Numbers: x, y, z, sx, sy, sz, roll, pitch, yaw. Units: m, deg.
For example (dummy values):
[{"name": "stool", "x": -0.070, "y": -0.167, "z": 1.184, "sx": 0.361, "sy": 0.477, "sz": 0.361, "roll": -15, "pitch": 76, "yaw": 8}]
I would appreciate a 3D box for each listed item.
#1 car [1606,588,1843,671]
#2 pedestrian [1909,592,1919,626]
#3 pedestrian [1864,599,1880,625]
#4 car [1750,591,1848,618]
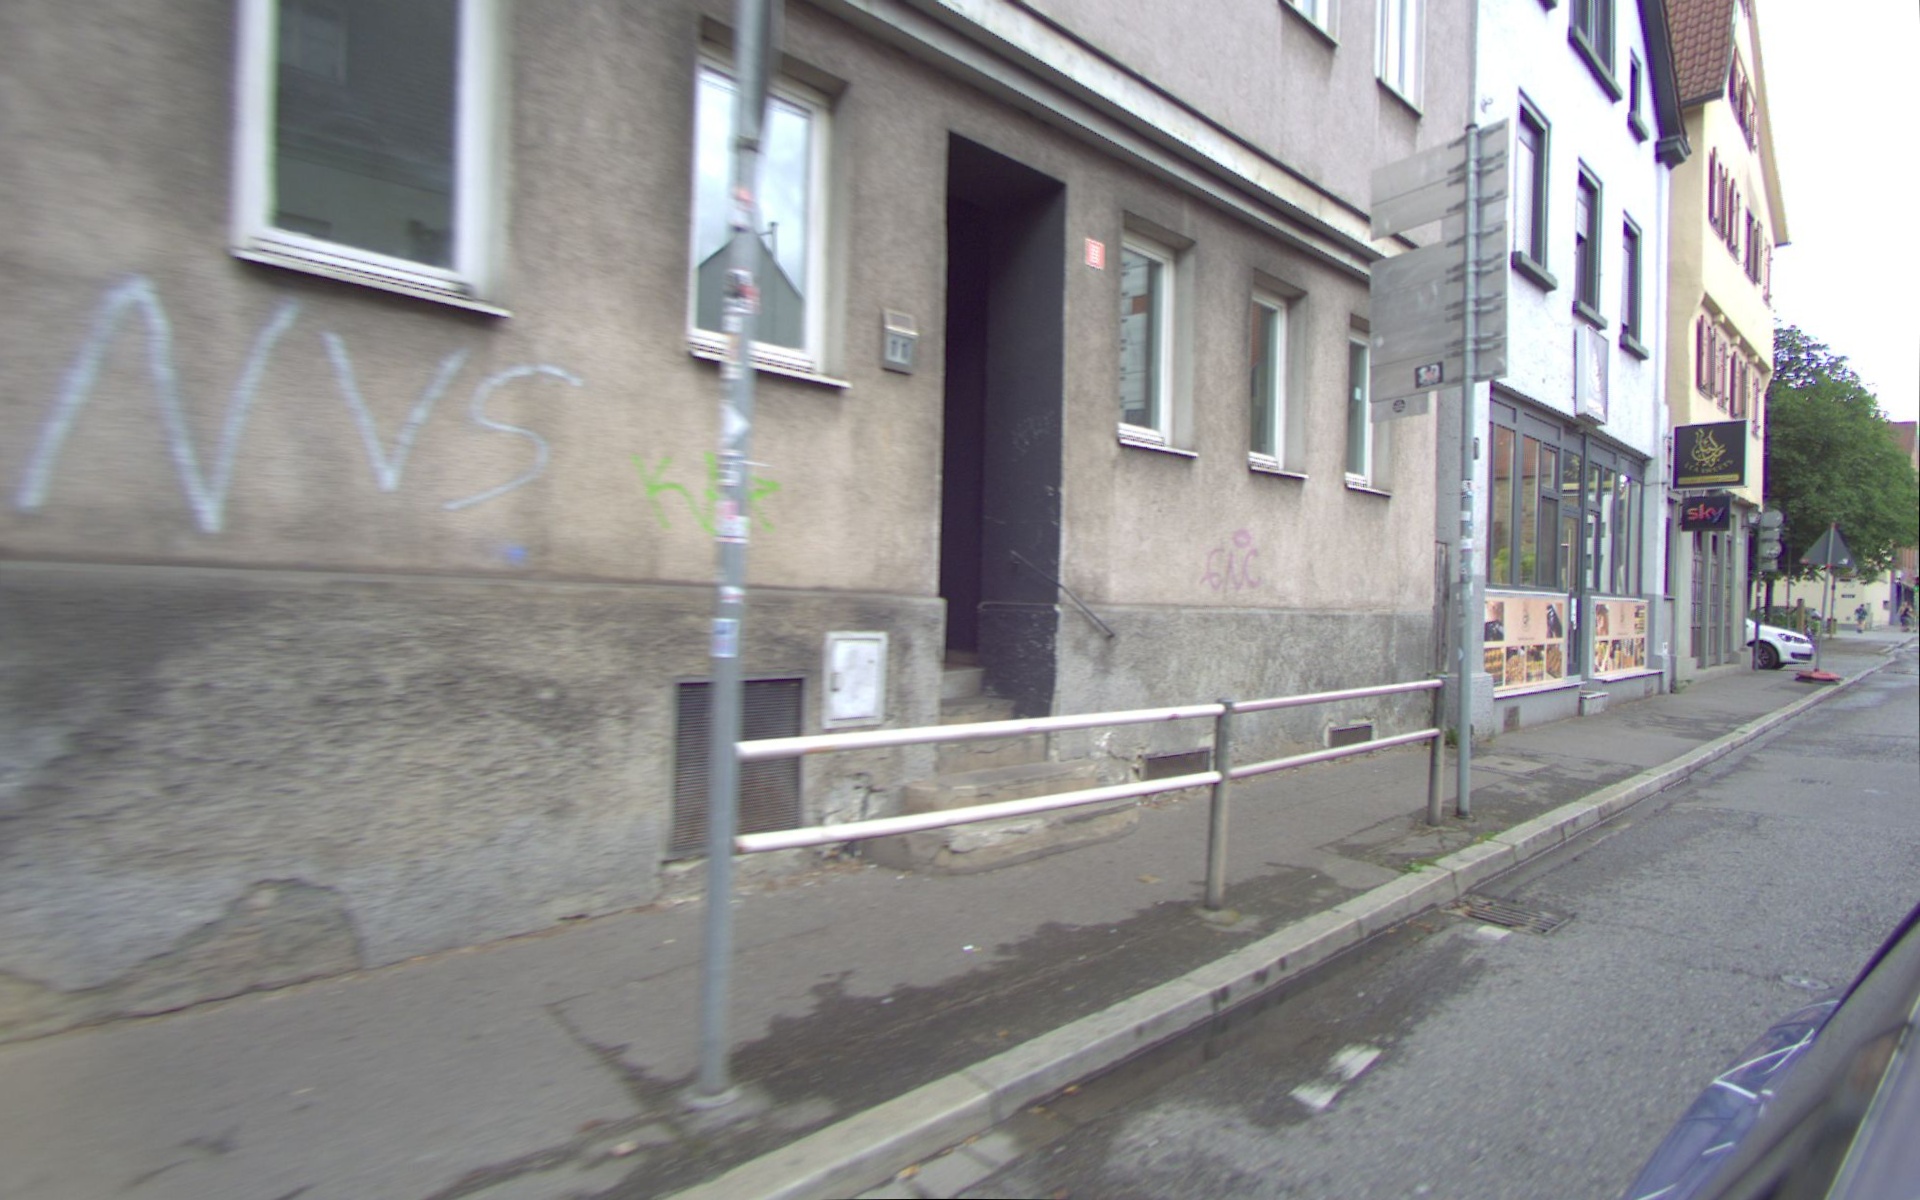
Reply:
[{"name": "car", "x": 18.926, "y": 0.633, "z": 25.203, "sx": 1.967, "sy": 1.809, "sz": 4.457, "roll": -1, "pitch": 2, "yaw": -43}, {"name": "pedestrian", "x": 62.342, "y": 0.593, "z": 65.937, "sx": 0.635, "sy": 2.142, "sz": 0.660, "roll": 2, "pitch": 0, "yaw": -43}, {"name": "pedestrian", "x": 51.551, "y": 0.676, "z": 57.223, "sx": 0.759, "sy": 1.462, "sz": 0.599, "roll": 0, "pitch": 1, "yaw": -43}, {"name": "car", "x": 47.523, "y": 0.220, "z": 57.389, "sx": 1.965, "sy": 1.482, "sz": 3.994, "roll": -1, "pitch": 1, "yaw": -40}]
